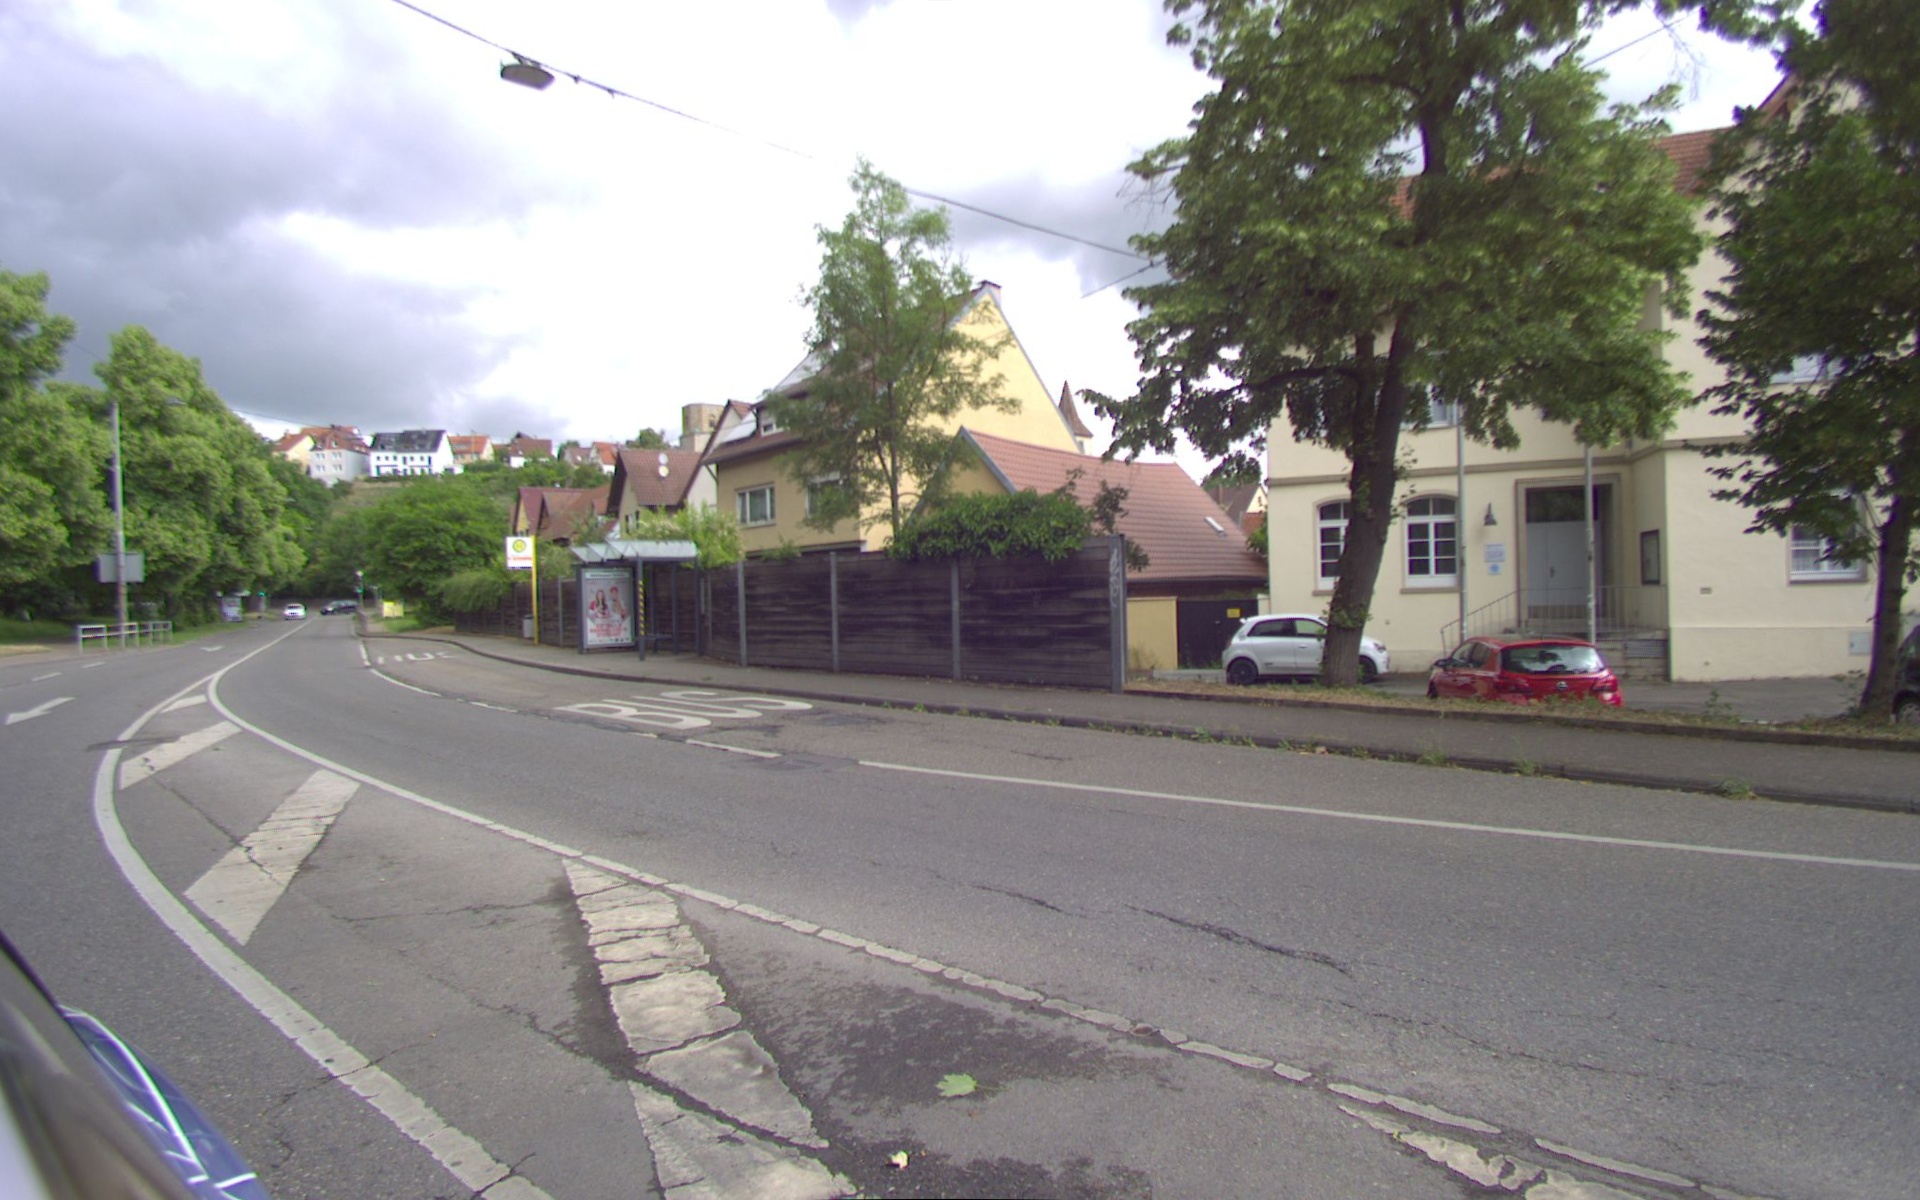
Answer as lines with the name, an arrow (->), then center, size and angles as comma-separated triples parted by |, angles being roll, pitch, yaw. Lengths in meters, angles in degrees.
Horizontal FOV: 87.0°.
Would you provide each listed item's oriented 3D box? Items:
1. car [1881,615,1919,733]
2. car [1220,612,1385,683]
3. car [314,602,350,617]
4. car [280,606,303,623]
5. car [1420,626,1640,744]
car -> 12.630, 0.927, 11.312 | 1.626, 1.450, 3.567 | -1, 0, 7
car -> 7.717, 1.047, 22.894 | 3.411, 1.490, 1.600 | -1, 0, 21
car -> -70.002, 1.028, 112.908 | 1.740, 1.596, 3.683 | -1, 0, 0
car -> -65.207, 1.397, 98.744 | 1.735, 1.536, 3.694 | -1, 0, -32
car -> 8.164, 1.138, 14.881 | 1.644, 1.393, 3.708 | -1, 0, 10
